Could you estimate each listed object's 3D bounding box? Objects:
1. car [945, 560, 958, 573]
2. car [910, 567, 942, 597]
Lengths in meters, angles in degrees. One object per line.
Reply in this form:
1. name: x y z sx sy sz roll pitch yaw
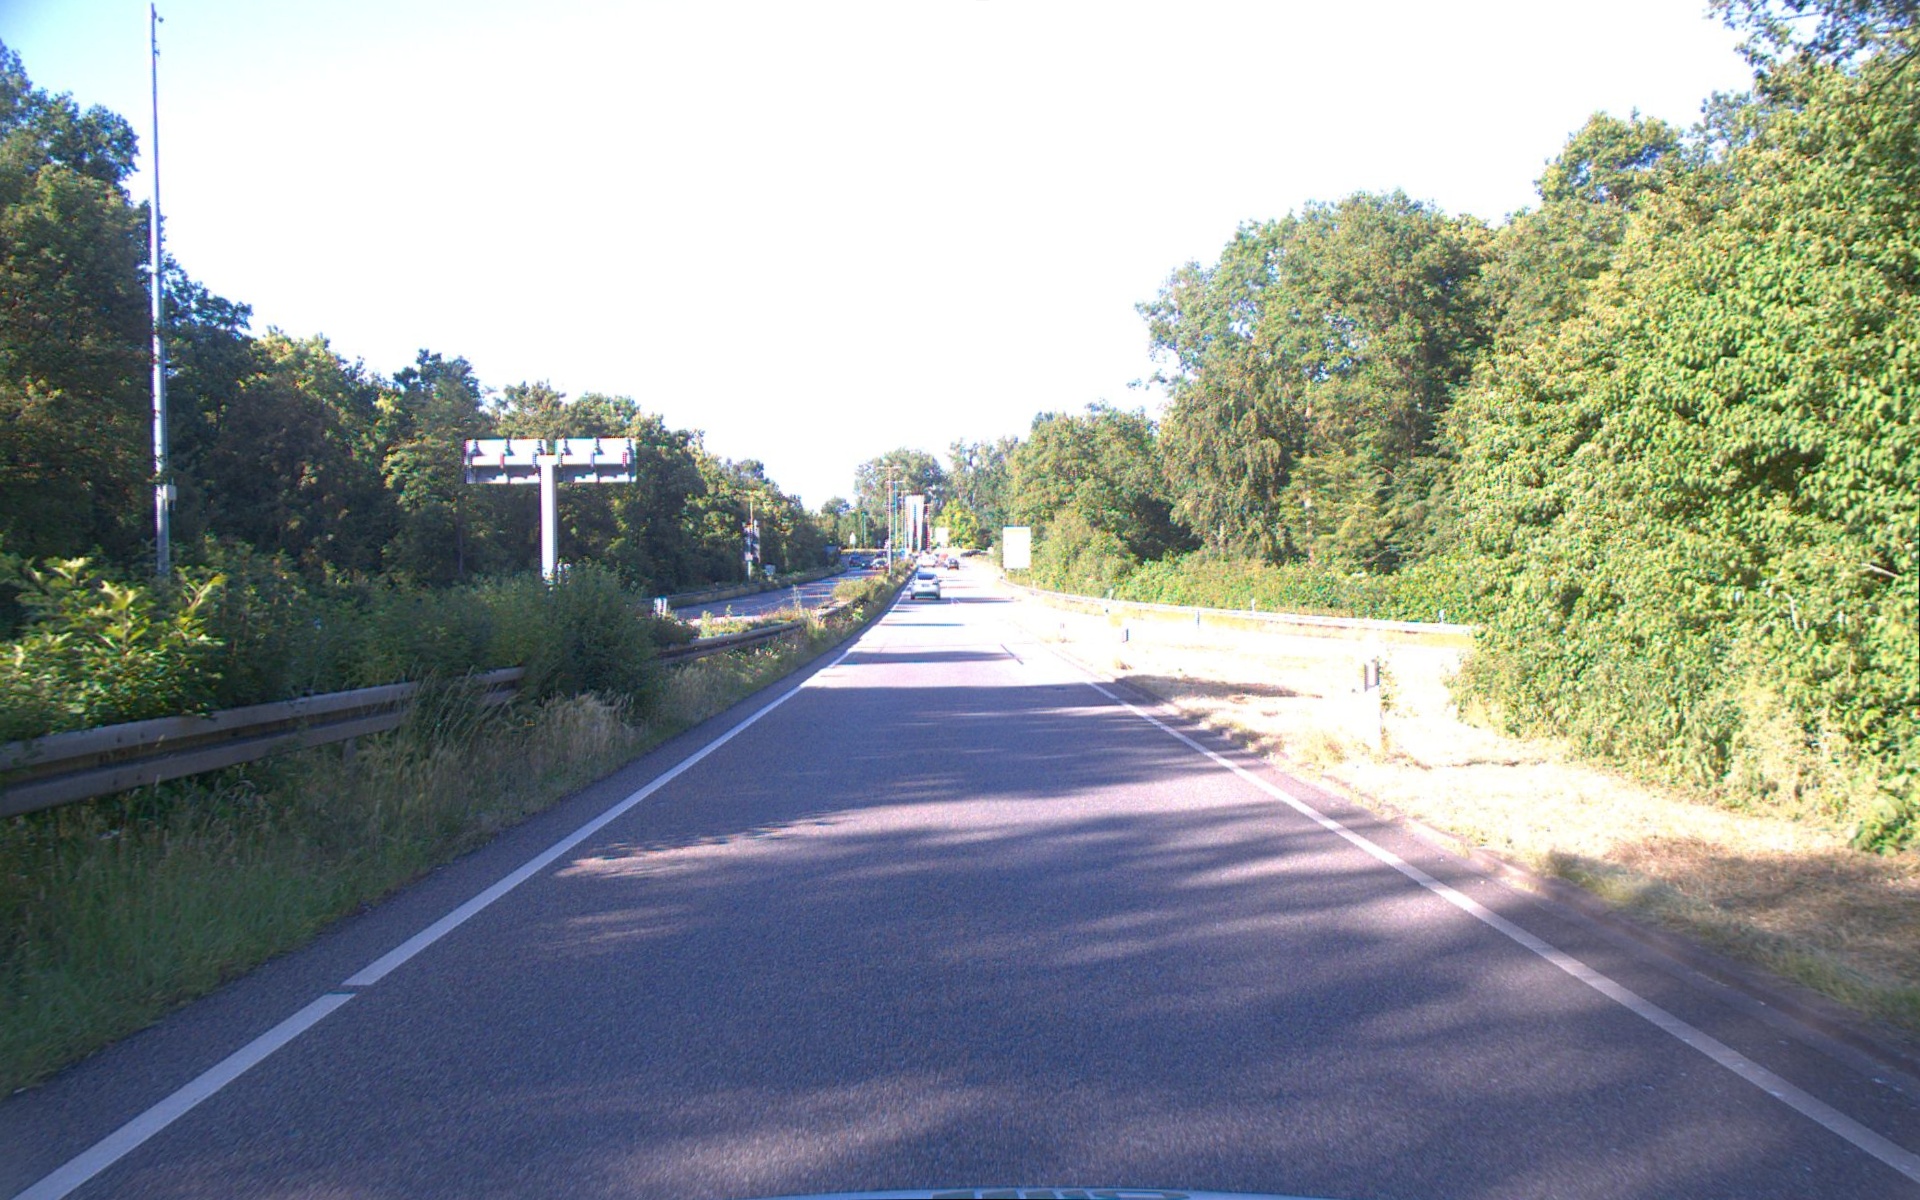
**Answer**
1. car: -1.255 -4.958 242.903 1.761 1.861 3.417 2 0 1
2. car: -2.185 -1.135 105.808 1.847 1.847 3.997 1 1 -4
